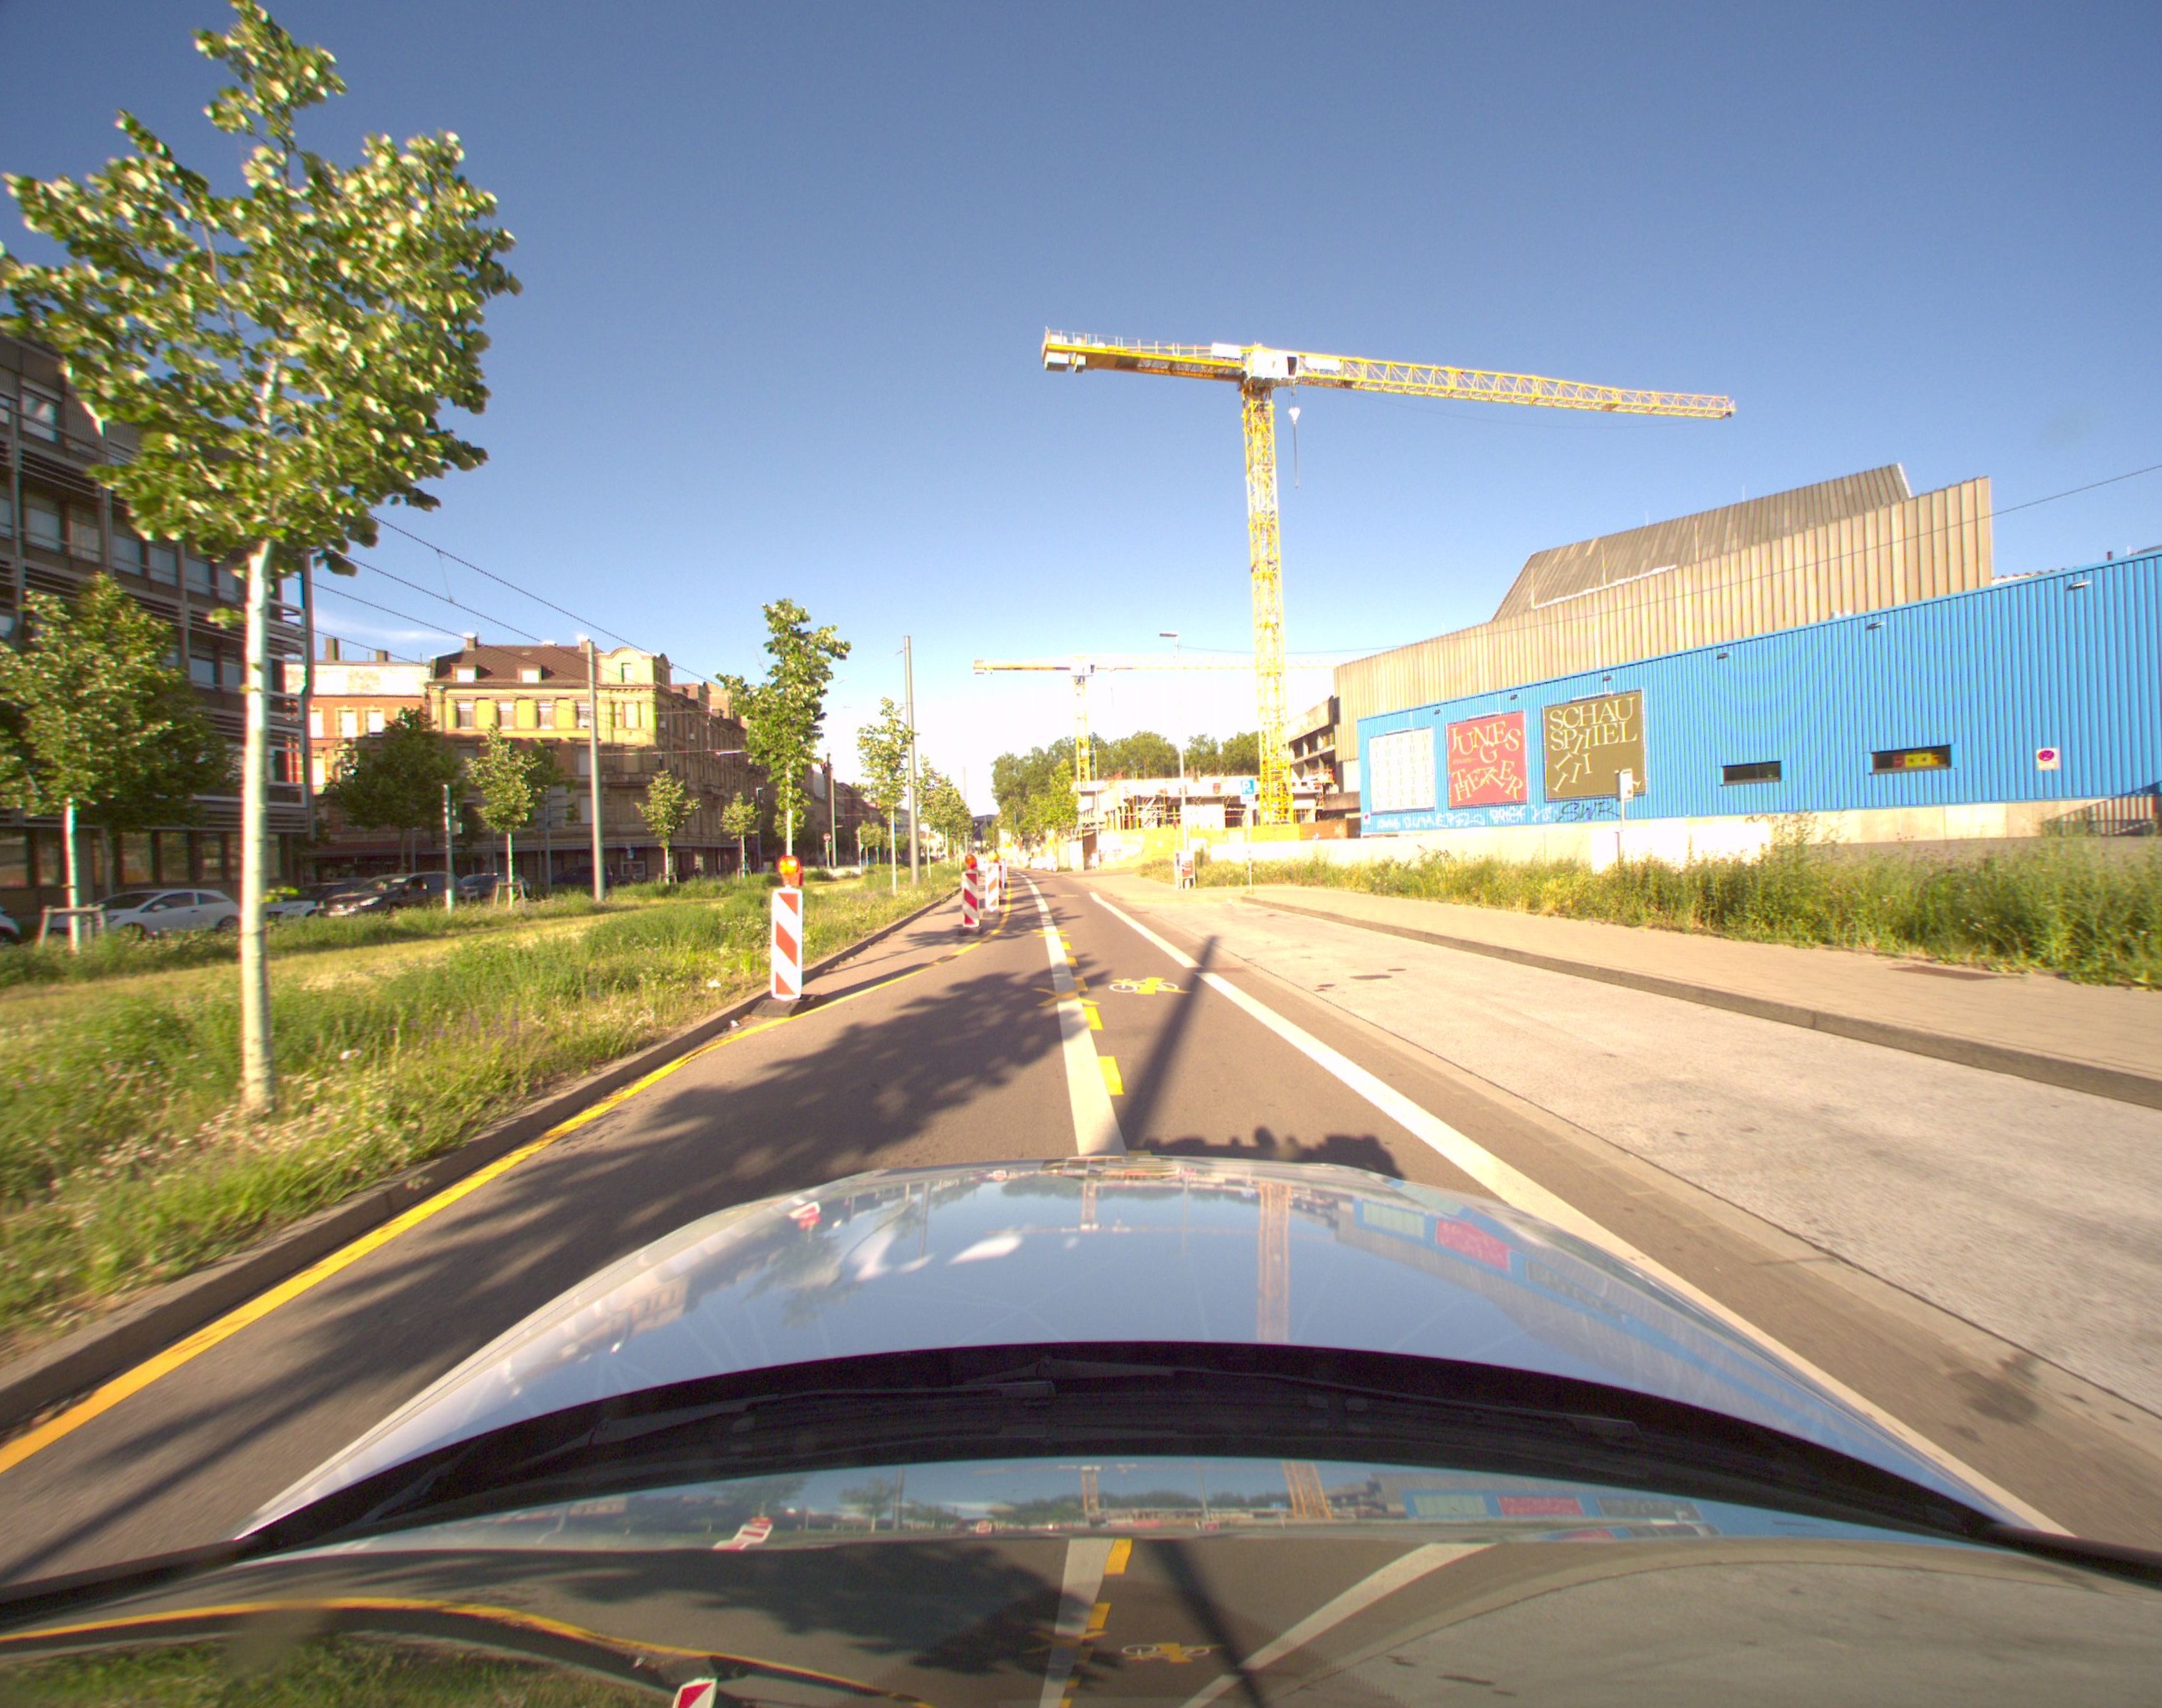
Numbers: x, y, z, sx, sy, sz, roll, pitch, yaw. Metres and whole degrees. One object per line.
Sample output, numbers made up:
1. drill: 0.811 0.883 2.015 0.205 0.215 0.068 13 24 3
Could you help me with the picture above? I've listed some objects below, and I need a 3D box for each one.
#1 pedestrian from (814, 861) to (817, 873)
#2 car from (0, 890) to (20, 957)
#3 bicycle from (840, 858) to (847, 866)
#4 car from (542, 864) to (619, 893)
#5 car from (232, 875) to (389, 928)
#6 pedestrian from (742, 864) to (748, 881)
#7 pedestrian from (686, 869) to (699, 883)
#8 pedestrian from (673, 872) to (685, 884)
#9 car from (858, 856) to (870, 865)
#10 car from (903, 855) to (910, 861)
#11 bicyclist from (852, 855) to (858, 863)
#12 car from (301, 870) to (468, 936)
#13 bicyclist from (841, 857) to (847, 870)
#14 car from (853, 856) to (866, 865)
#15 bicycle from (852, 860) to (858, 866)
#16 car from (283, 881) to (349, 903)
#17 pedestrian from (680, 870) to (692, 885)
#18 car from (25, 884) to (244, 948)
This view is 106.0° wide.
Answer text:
1. pedestrian: -40.696 2.033 124.899 0.366 1.765 0.405 0 -1 -9
2. car: -25.939 1.651 17.273 1.733 1.536 3.883 -1 0 -1
3. bicycle: -31.945 1.053 109.490 0.694 0.978 1.822 -2 0 -8
4. car: -38.143 1.835 62.181 4.515 1.903 1.890 -2 0 -14
5. car: -26.503 1.586 28.227 1.644 1.554 3.965 -2 0 -1
6. pedestrian: -35.321 1.916 85.695 0.507 1.765 0.405 0 -1 -9
7. pedestrian: -35.122 2.005 73.604 0.790 1.208 0.927 -2 0 -8
8. pedestrian: -35.718 2.138 72.350 0.689 1.059 0.734 -2 0 -8
9. car: -39.783 1.096 149.276 1.566 1.562 4.700 -2 0 -9
10. car: -46.157 1.045 215.511 1.593 1.483 3.614 -2 0 -7
11. bicyclist: -33.631 0.770 121.117 0.637 1.239 0.736 -2 0 -8
12. car: -21.457 1.429 25.347 1.724 1.746 4.117 -2 0 -3
13. bicyclist: -32.015 1.300 109.984 0.694 1.657 0.880 -2 0 -8
14. car: -38.373 1.096 141.174 1.566 1.562 4.700 -2 0 -9
15. bicycle: -33.630 1.275 121.245 0.637 0.857 2.026 -2 0 -7
16. car: -54.835 2.711 58.386 3.056 1.409 1.479 -2 0 -13
17. pedestrian: -34.803 2.055 71.728 0.689 1.246 0.927 -2 0 -8
18. car: -26.039 1.652 22.631 1.620 1.441 3.817 -1 0 -1
